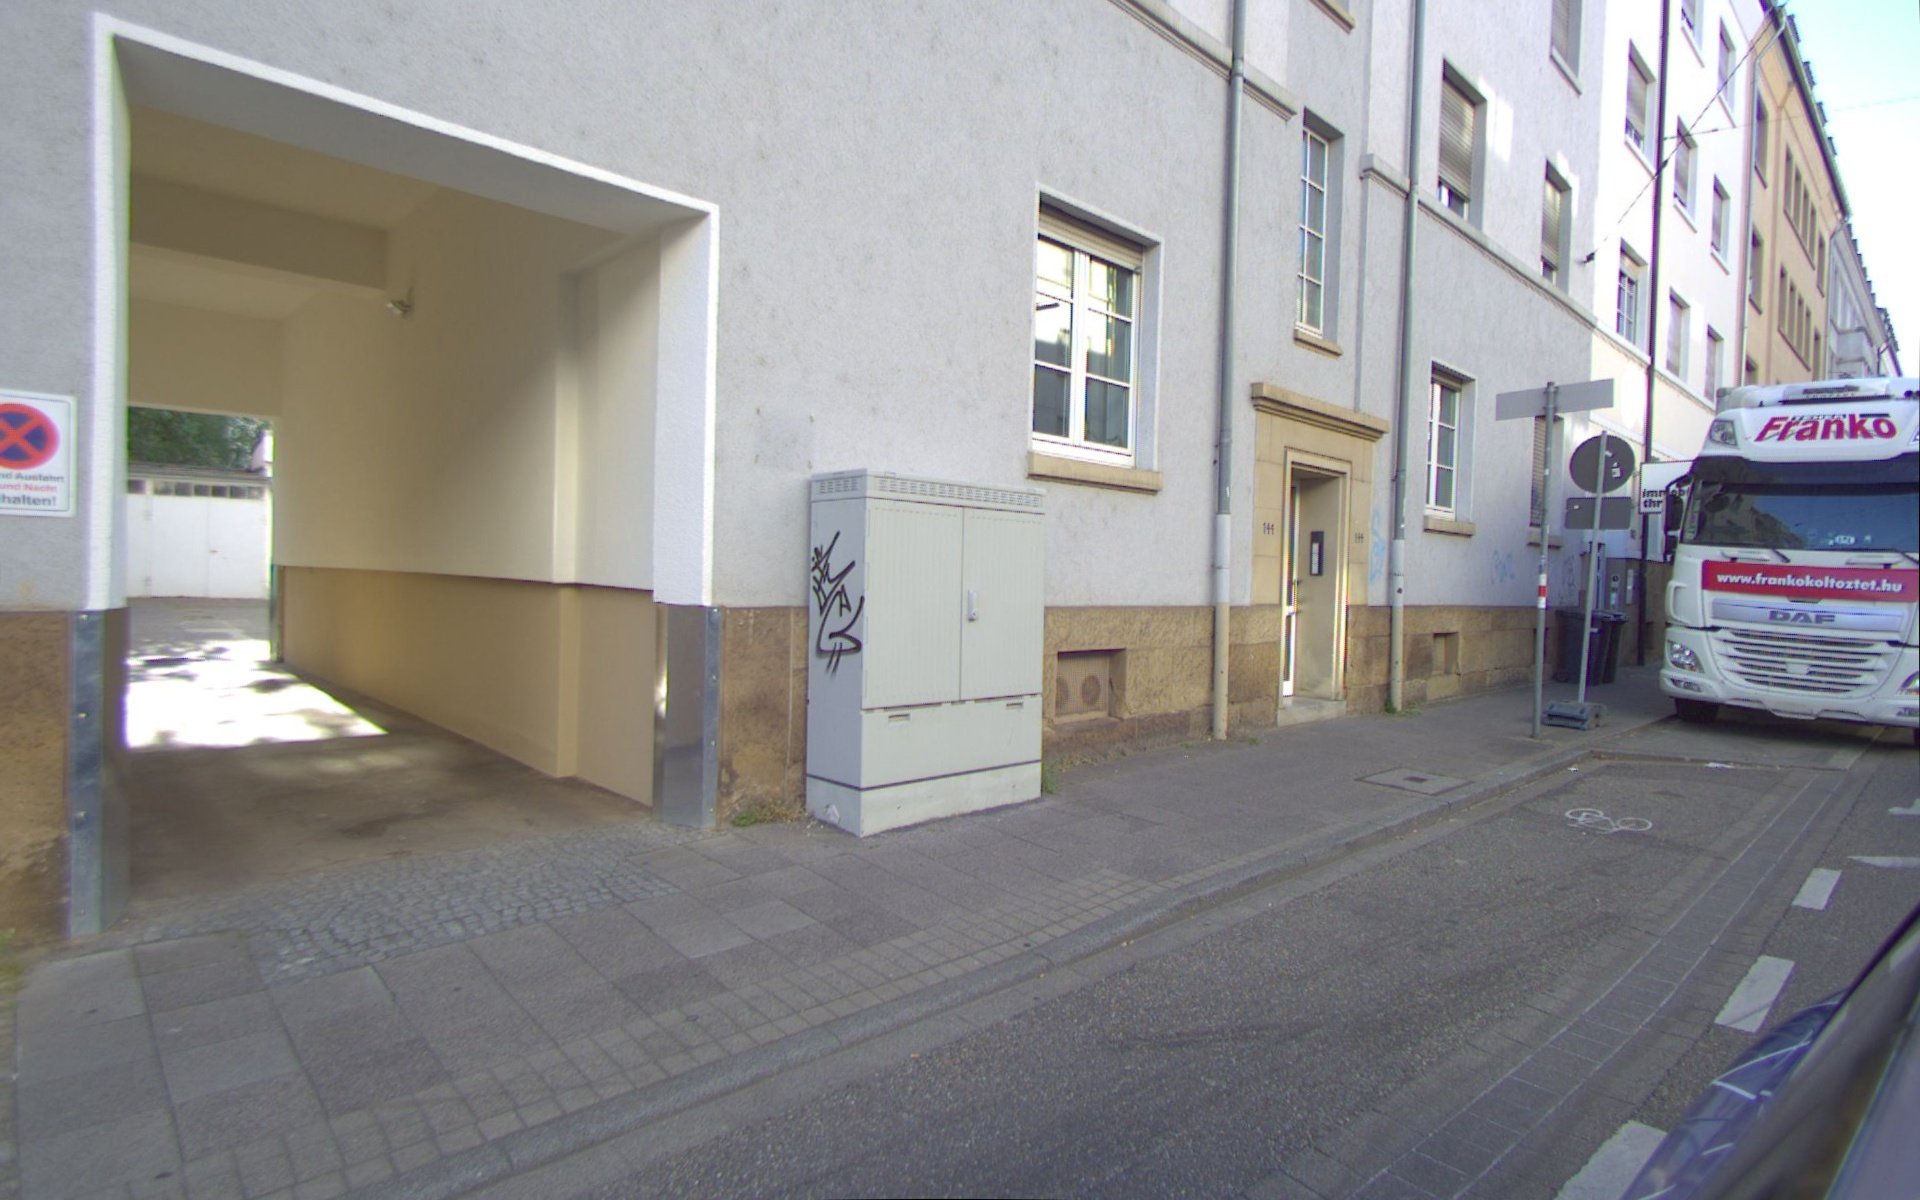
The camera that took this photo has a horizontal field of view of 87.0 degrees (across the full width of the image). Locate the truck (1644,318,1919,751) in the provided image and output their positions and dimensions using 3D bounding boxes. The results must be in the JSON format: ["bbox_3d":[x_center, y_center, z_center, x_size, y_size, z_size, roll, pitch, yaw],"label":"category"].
[{"bbox_3d":[12.558,-0.603,13.885,11.511,4.012,2.894,0,0,-44],"label":"truck"}]

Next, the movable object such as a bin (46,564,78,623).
[{"bbox_3d":[-14.297,-0.110,16.116,0.366,0.919,0.420,0,3,-44],"label":"movable object such as a bin"}]

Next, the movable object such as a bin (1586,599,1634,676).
[{"bbox_3d":[9.609,0.544,14.963,0.511,1.106,0.488,0,0,45],"label":"movable object such as a bin"}]

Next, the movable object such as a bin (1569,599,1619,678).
[{"bbox_3d":[9.134,0.545,14.583,0.511,1.106,0.488,0,0,45],"label":"movable object such as a bin"}]

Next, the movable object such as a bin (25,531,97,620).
[{"bbox_3d":[-14.905,-0.416,16.780,0.874,1.409,0.758,0,4,-44],"label":"movable object such as a bin"}]
